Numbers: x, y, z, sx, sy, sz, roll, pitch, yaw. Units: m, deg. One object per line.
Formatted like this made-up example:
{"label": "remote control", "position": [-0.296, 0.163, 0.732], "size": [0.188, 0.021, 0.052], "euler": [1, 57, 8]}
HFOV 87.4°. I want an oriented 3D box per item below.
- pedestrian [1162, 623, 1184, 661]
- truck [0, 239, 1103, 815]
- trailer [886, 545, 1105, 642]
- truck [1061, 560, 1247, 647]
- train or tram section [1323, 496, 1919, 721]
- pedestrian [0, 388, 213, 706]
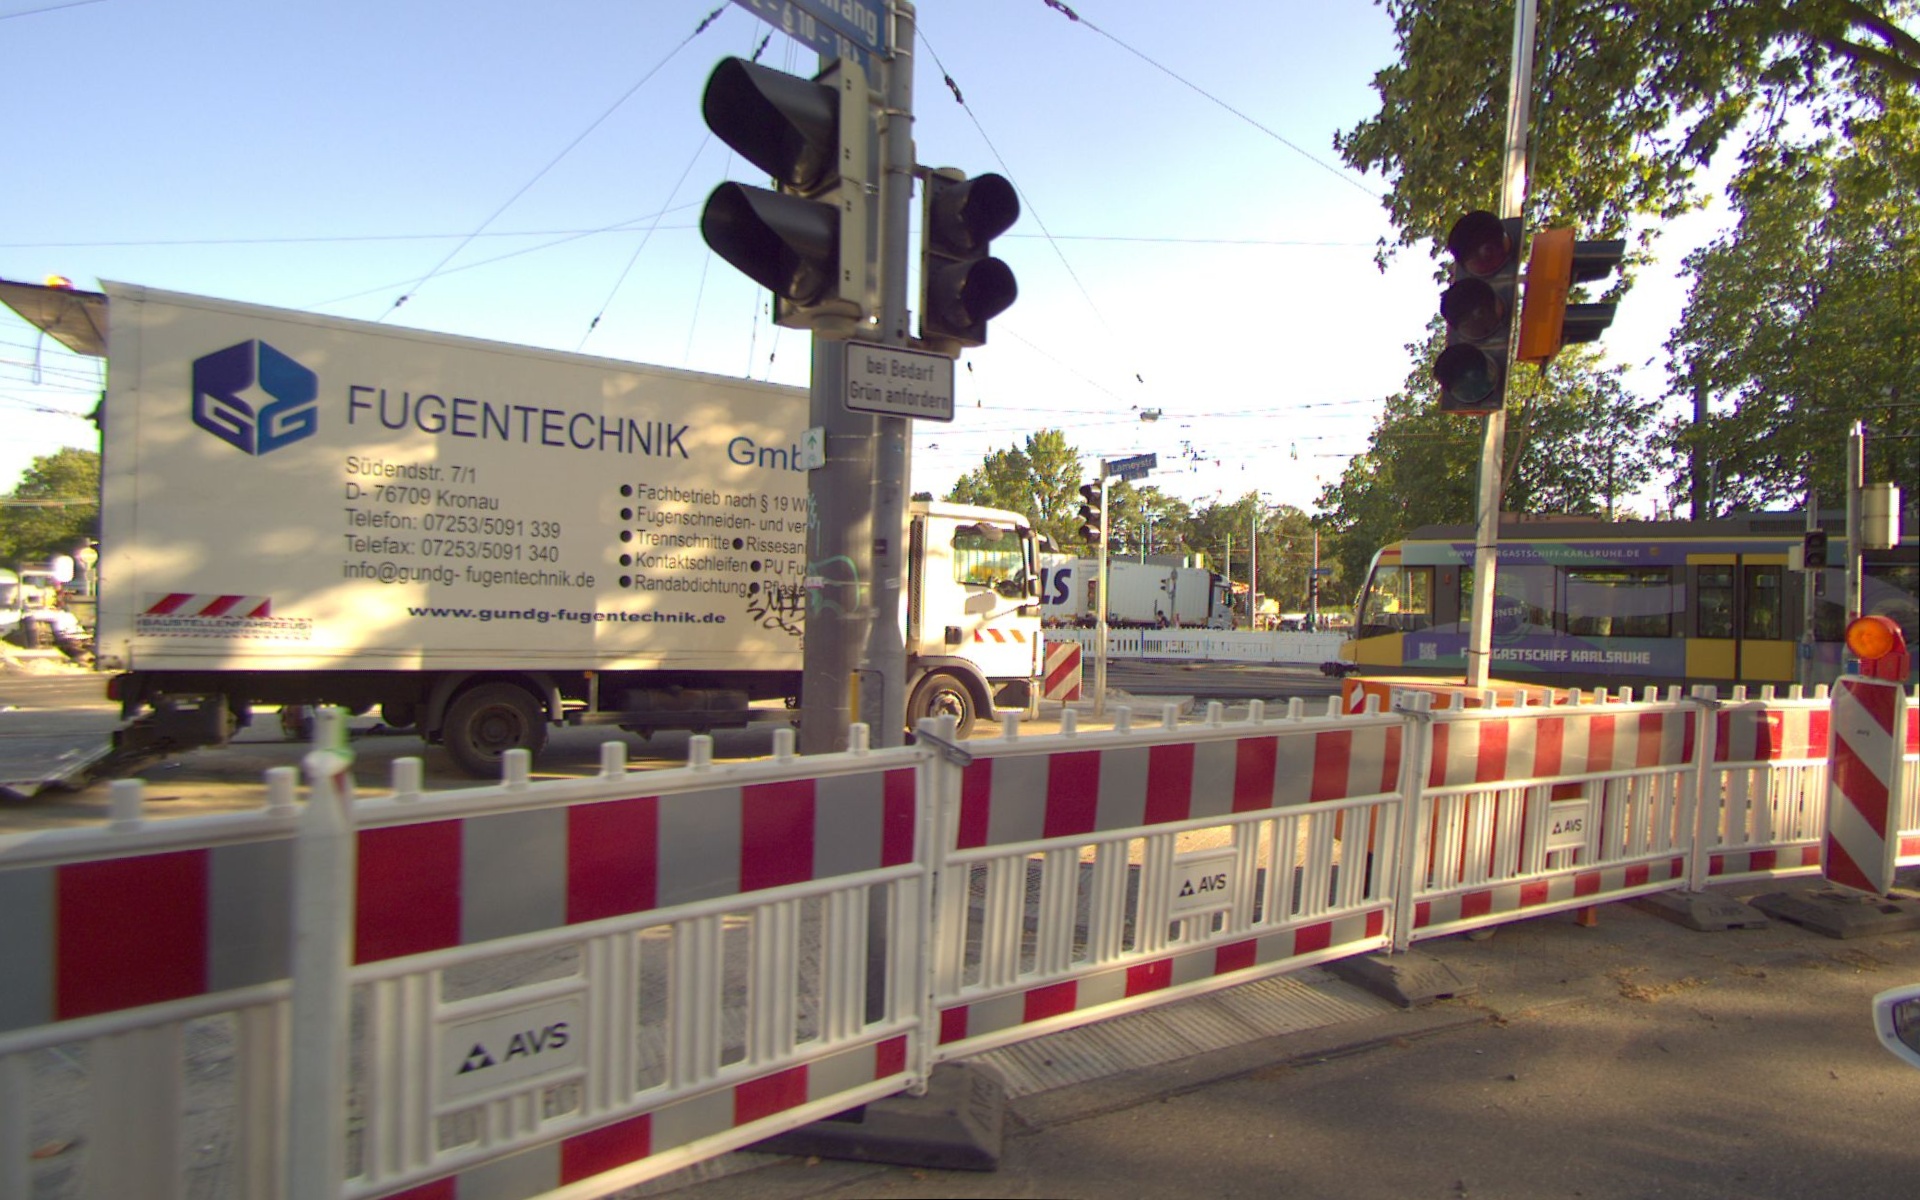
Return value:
{"label": "pedestrian", "position": [8.927, 1.746, 42.016], "size": [0.588, 1.535, 0.568], "euler": [2, 2, -41]}
{"label": "truck", "position": [-3.037, -0.379, 9.568], "size": [8.876, 3.588, 2.799], "euler": [1, 0, -30]}
{"label": "trailer", "position": [1.608, -0.198, 43.300], "size": [9.121, 3.848, 2.877], "euler": [1, 1, -25]}
{"label": "truck", "position": [9.618, 0.272, 48.756], "size": [10.344, 3.840, 2.868], "euler": [2, -1, -39]}
{"label": "train or tram section", "position": [13.669, 0.143, 18.238], "size": [13.138, 3.580, 2.858], "euler": [1, -1, 23]}
{"label": "pedestrian", "position": [-5.967, -0.341, 7.102], "size": [0.990, 2.040, 0.931], "euler": [-1, 1, -32]}
